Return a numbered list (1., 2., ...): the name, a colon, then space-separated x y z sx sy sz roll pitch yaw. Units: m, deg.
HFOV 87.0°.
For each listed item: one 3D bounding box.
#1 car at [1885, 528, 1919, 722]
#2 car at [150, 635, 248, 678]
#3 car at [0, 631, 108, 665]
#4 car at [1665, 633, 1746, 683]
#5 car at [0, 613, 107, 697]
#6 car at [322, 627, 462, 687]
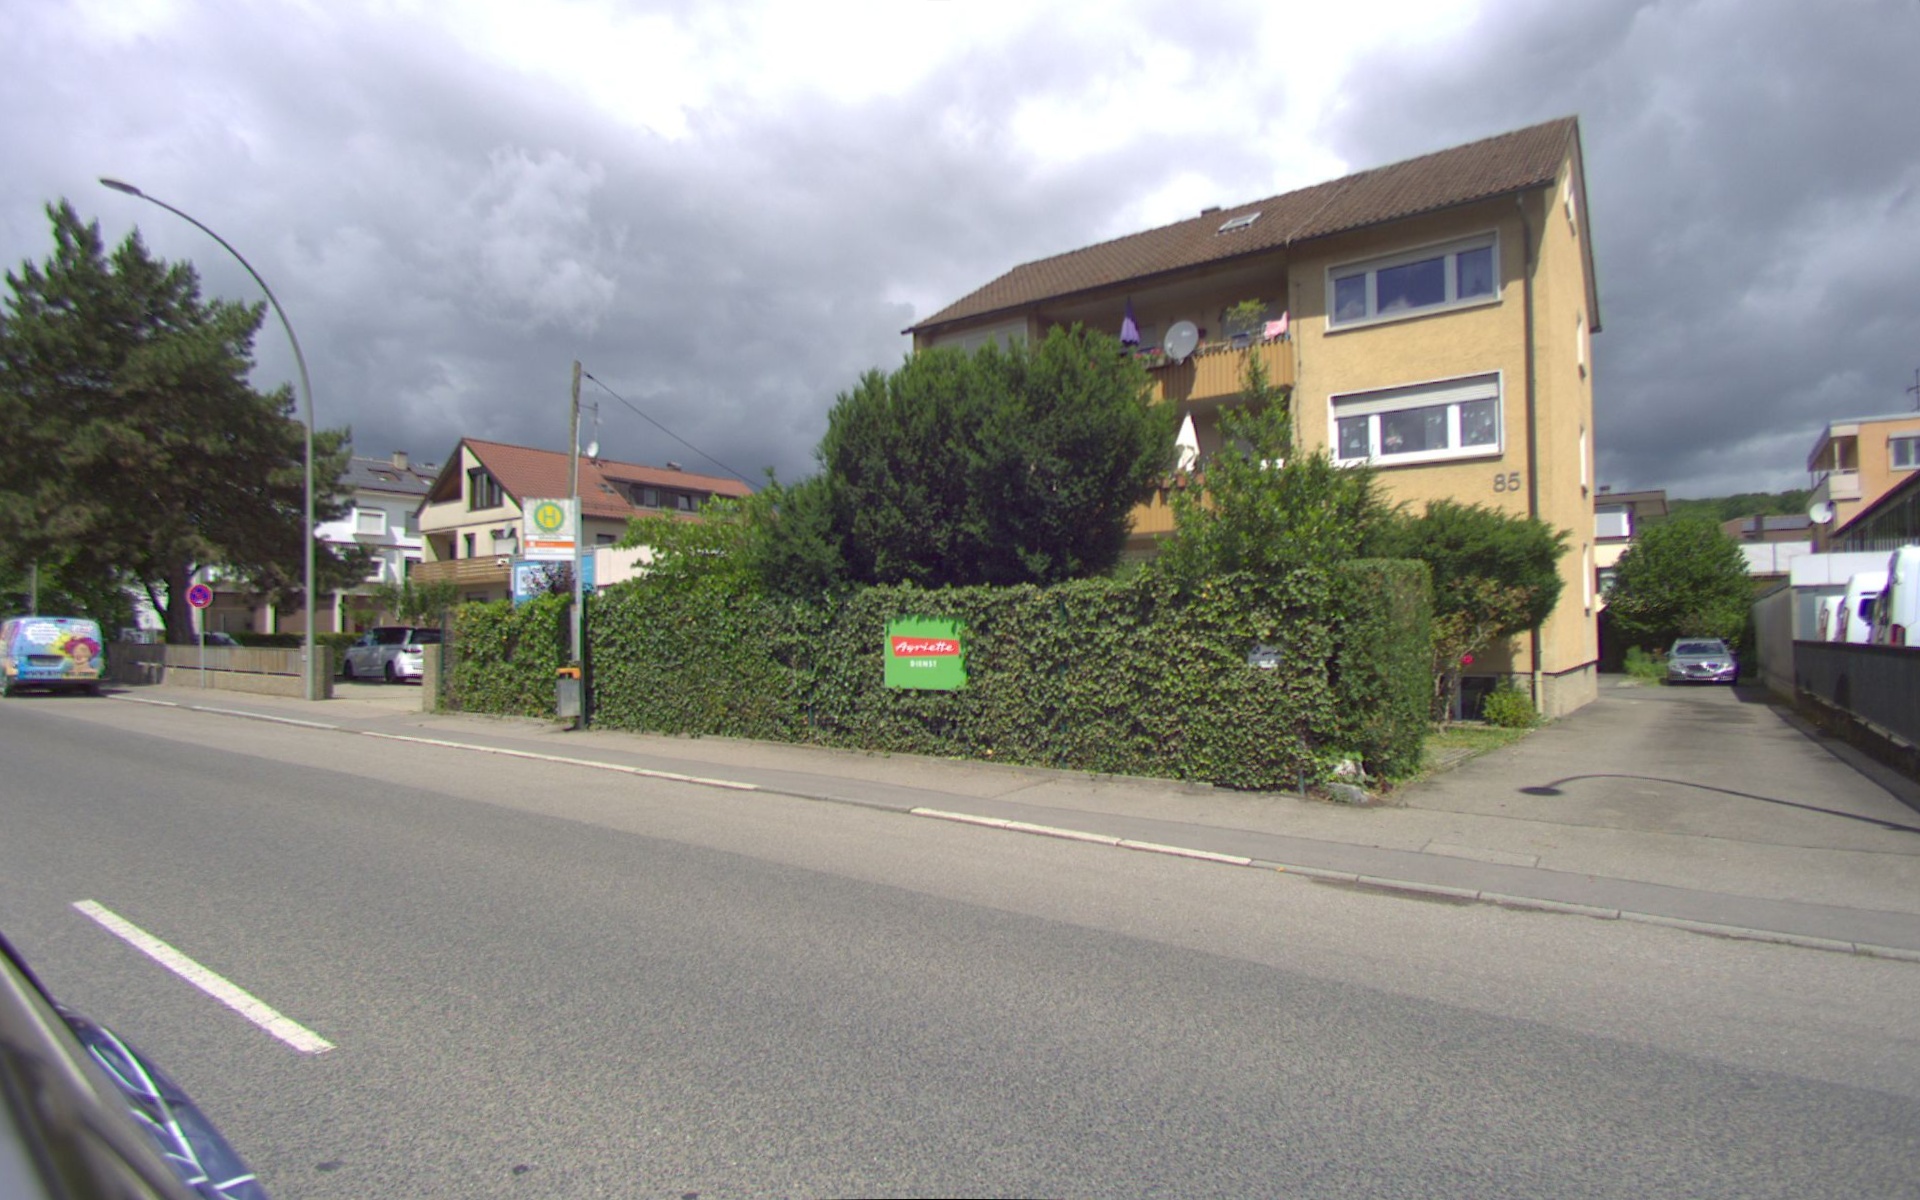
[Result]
1. car: 15.342 0.316 12.113 6.131 2.514 2.387 -2 -4 41
2. car: -29.245 2.146 38.858 4.076 1.555 1.752 -2 -3 34
3. car: -44.627 2.292 48.907 1.968 1.563 4.963 -1 -2 35
4. car: 24.562 1.864 33.324 1.997 1.519 3.949 -2 -3 37
5. car: -22.714 1.378 24.693 4.888 1.868 1.816 -3 -6 38
6. car: -19.064 1.867 33.877 5.470 1.845 2.060 -2 -3 37
